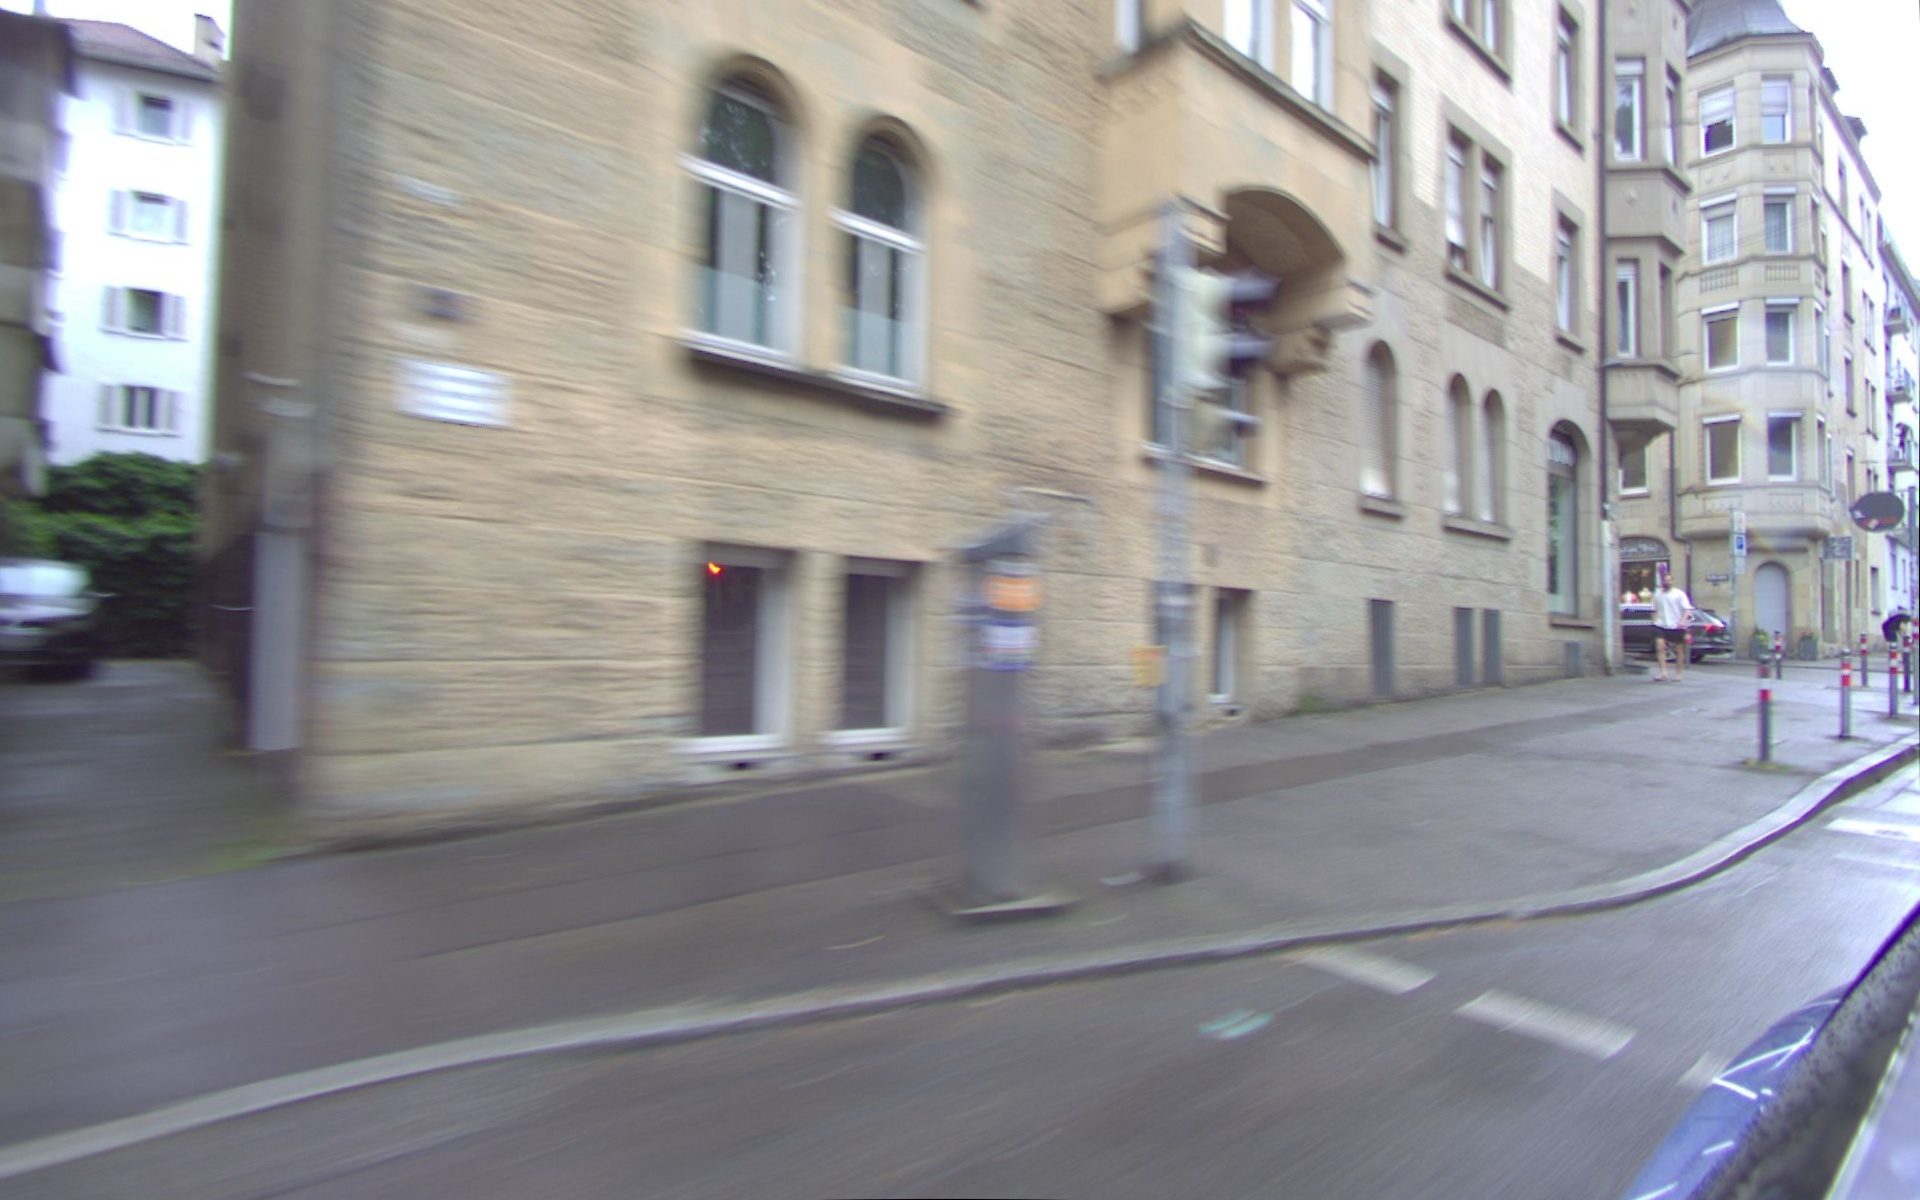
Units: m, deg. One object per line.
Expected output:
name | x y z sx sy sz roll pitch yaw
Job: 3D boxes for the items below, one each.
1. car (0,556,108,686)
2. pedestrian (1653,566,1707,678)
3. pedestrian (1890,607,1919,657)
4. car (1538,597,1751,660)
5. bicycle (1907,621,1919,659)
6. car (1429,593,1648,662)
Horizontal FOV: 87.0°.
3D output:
car | -11.747 0.235 12.663 1.571 1.439 3.539 1 -1 -41
pedestrian | 11.677 0.354 16.415 0.564 1.774 0.579 3 -1 -39
pedestrian | 26.408 0.889 28.275 0.504 1.388 0.402 0 -1 24
car | 18.583 0.746 27.657 1.746 1.519 4.508 4 -2 -38
bicycle | 26.722 1.109 28.136 1.645 1.027 0.339 2 1 -39
car | 13.789 0.604 24.331 1.764 1.386 4.217 1 1 -37
